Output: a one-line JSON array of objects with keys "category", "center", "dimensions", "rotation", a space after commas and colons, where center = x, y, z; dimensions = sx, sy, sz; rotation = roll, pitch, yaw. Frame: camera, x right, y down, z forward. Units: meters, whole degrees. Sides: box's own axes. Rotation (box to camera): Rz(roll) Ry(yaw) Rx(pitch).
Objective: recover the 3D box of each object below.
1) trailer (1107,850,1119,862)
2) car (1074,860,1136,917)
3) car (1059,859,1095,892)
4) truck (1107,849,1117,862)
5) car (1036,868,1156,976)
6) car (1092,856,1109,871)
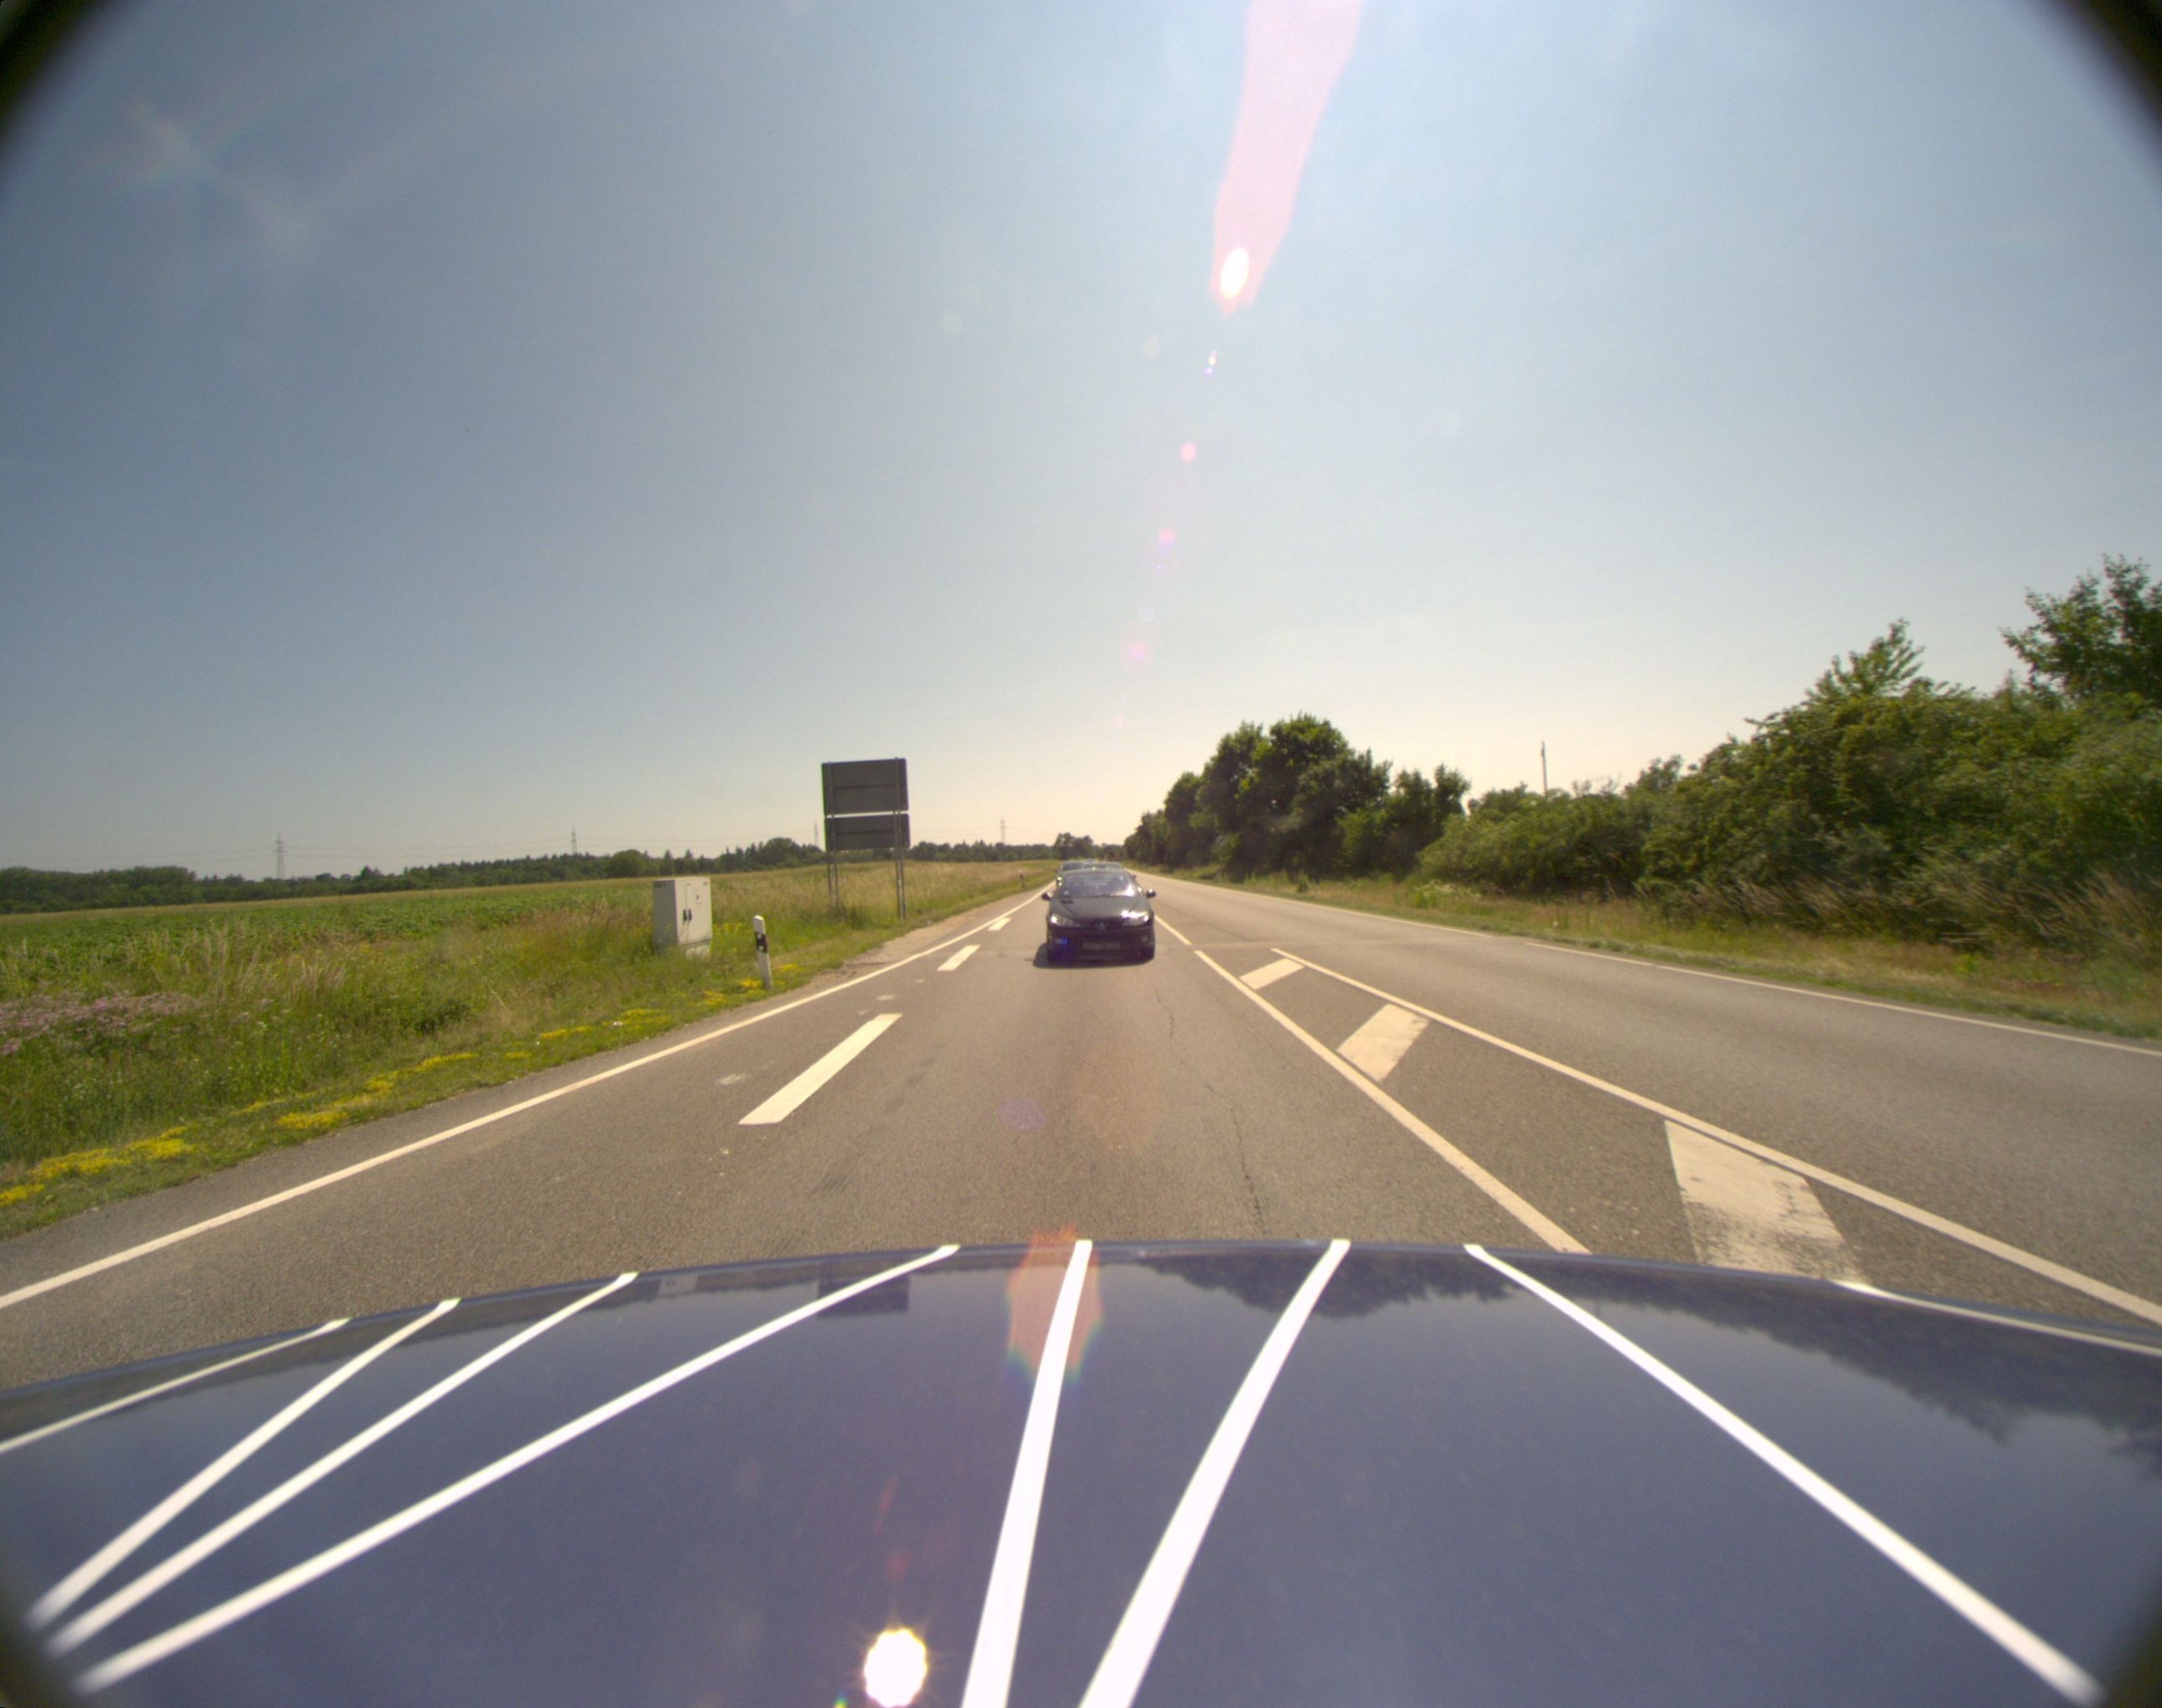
[{"category": "trailer", "center": [9.715, 0.631, 229.267], "dimensions": [2.669, 3.440, 14.948], "rotation": [-1, 0, -1]}, {"category": "car", "center": [0.726, 0.975, 23.041], "dimensions": [1.665, 1.477, 3.732], "rotation": [-2, 0, 2]}, {"category": "car", "center": [-0.163, 1.026, 38.203], "dimensions": [1.665, 1.449, 4.173], "rotation": [-2, 0, 0]}, {"category": "truck", "center": [9.640, 0.455, 236.582], "dimensions": [2.709, 3.908, 5.952], "rotation": [-1, 0, -1]}, {"category": "car", "center": [0.239, 1.001, 12.636], "dimensions": [1.665, 1.389, 3.731], "rotation": [-2, 0, 1]}, {"category": "car", "center": [1.812, 0.867, 71.828], "dimensions": [1.588, 1.294, 3.631], "rotation": [-2, 0, 1]}]
